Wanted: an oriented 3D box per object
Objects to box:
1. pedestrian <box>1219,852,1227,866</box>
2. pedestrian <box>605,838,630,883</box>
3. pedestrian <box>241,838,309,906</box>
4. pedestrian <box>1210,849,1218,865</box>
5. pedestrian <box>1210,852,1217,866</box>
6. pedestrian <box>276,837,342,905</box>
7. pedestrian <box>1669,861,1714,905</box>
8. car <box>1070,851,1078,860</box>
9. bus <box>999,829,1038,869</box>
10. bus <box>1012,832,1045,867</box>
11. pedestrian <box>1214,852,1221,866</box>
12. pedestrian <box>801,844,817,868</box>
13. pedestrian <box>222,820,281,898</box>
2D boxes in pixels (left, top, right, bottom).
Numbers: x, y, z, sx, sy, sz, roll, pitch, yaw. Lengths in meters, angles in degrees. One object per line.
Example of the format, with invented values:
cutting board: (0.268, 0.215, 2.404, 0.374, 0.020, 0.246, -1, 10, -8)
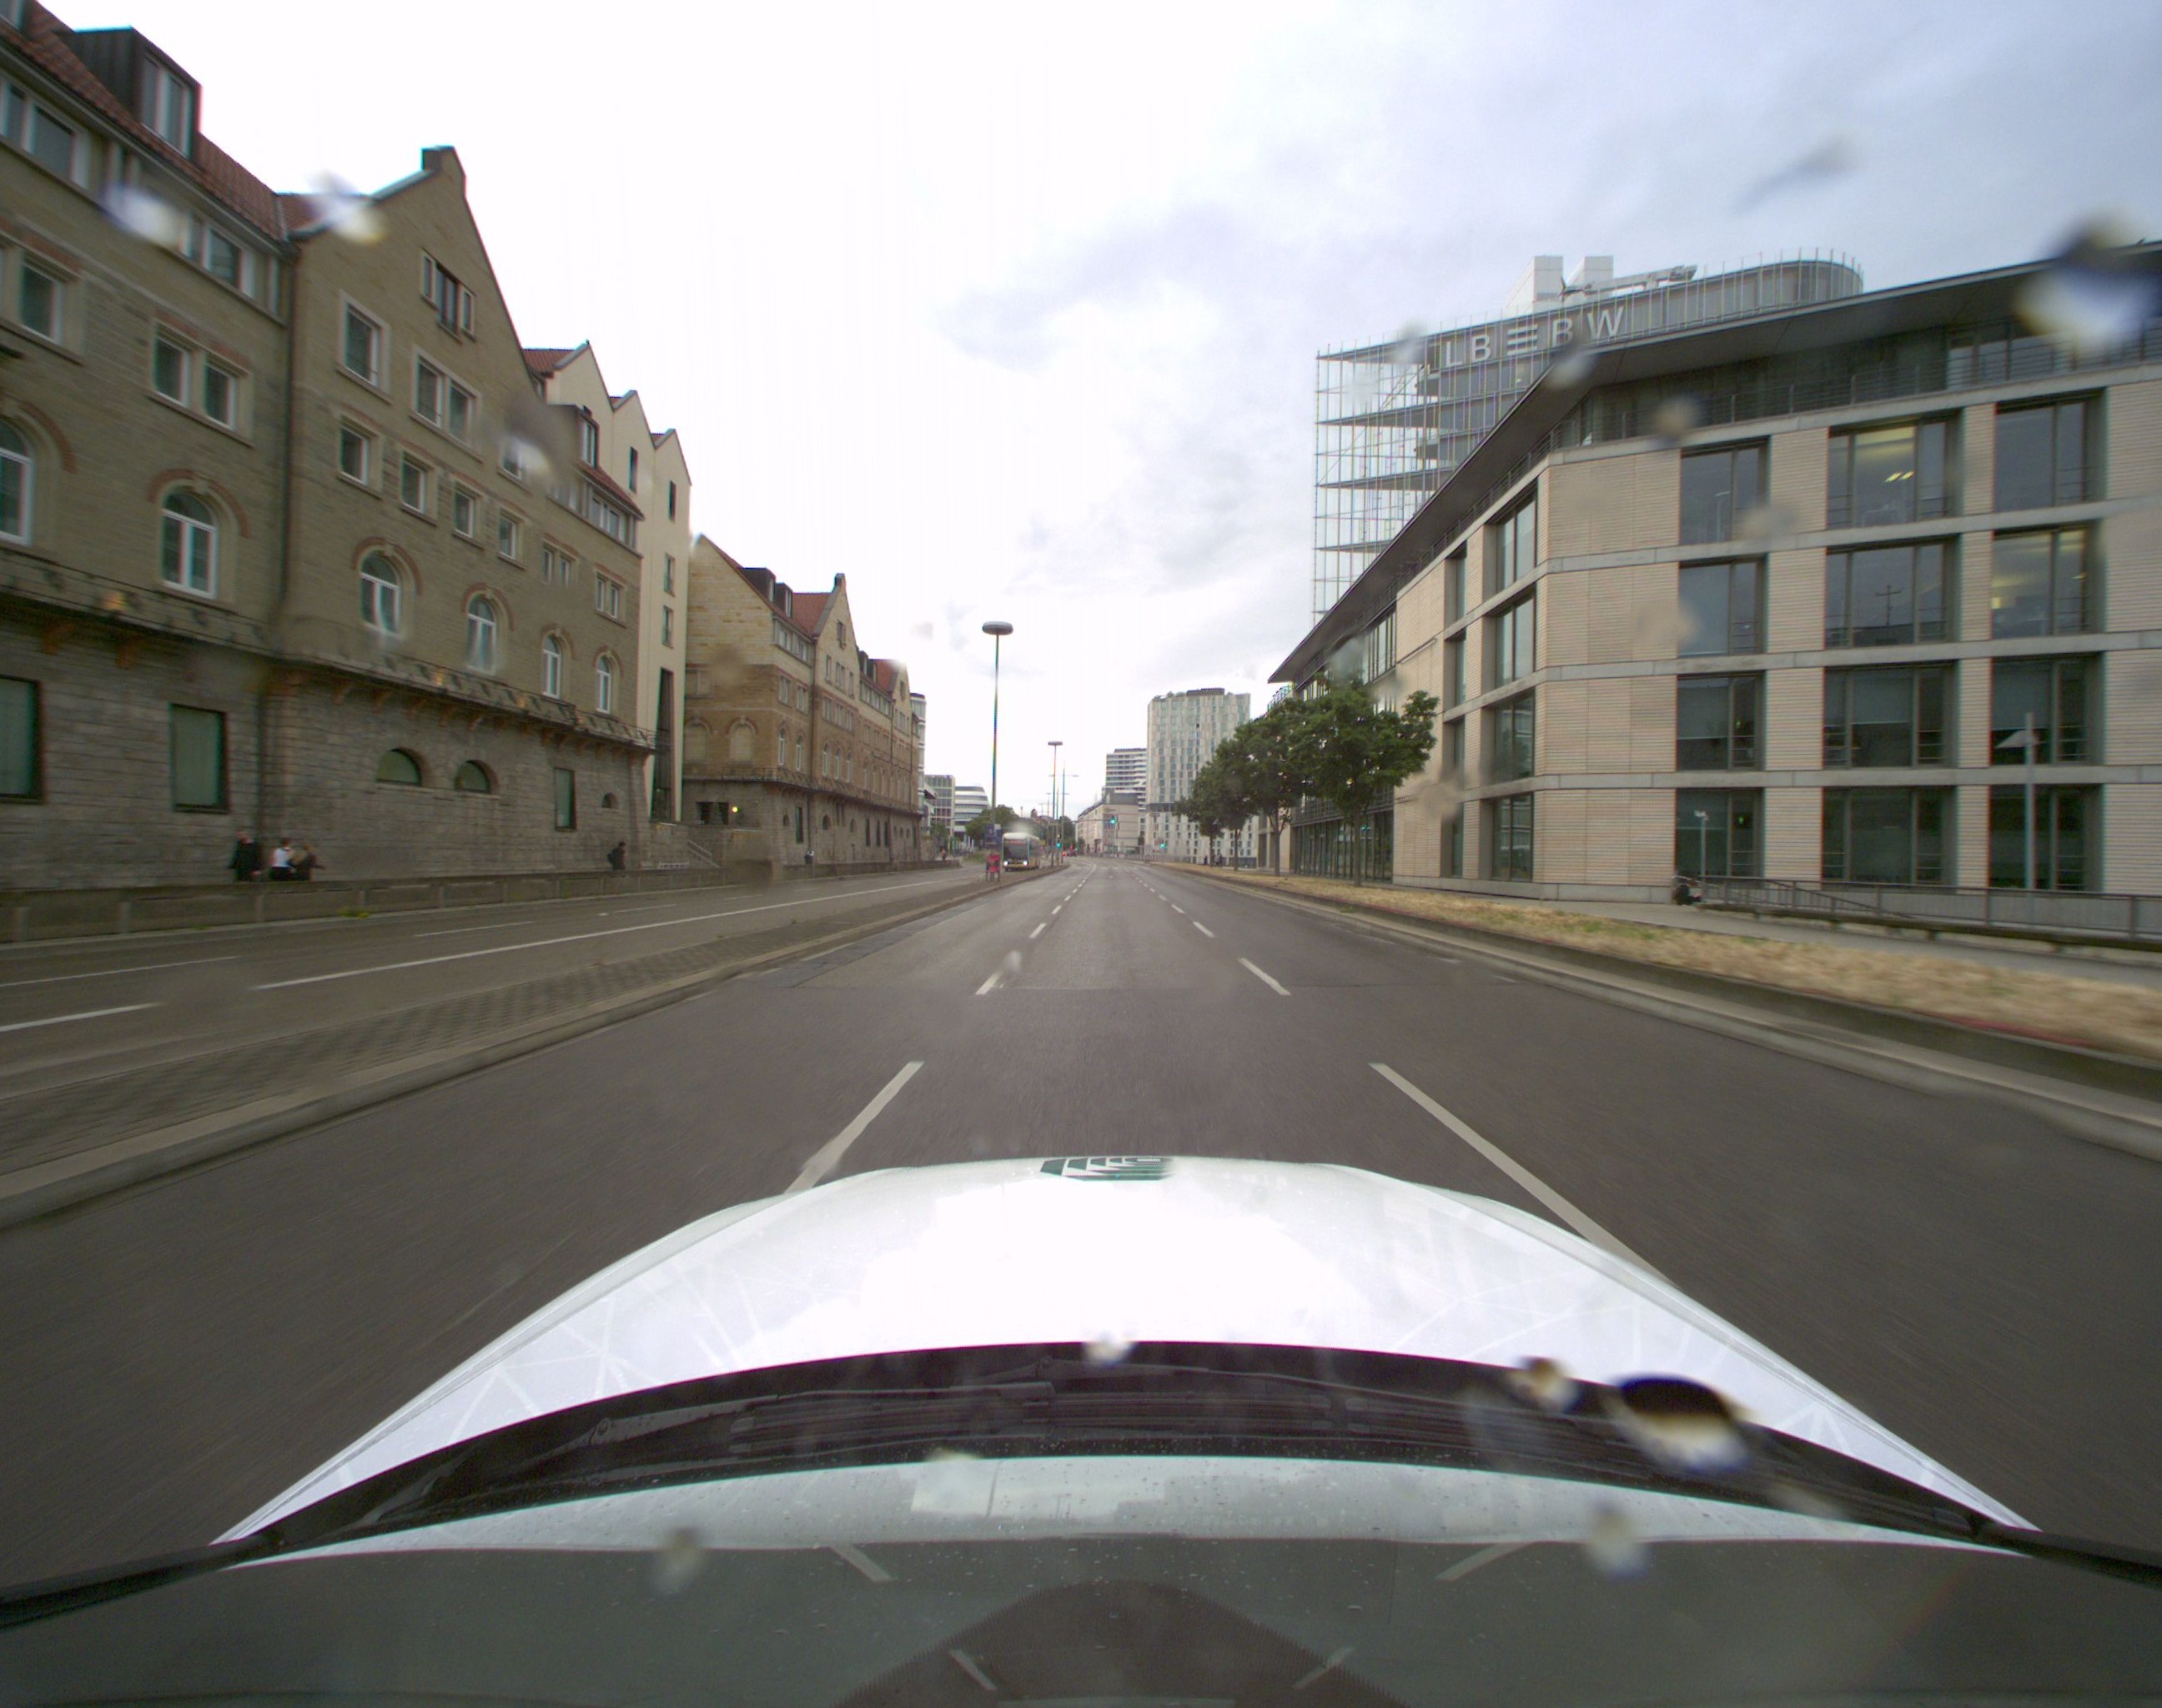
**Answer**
pedestrian: (16.074, 0.587, 92.105, 0.662, 1.578, 0.673, 1, 2, 39)
pedestrian: (-18.386, 0.244, 32.321, 0.638, 1.745, 0.621, 0, 1, -1)
pedestrian: (-18.057, 0.389, 18.257, 0.751, 1.477, 0.714, 0, 1, 1)
pedestrian: (15.282, 0.319, 93.608, 0.787, 1.841, 0.545, -1, 2, -42)
pedestrian: (15.250, 0.583, 93.566, 0.544, 1.578, 0.675, 1, 2, 36)
pedestrian: (-17.271, 0.367, 18.238, 0.751, 1.477, 0.714, 0, 1, 1)
pedestrian: (19.139, 0.880, 25.546, 0.868, 1.340, 0.974, 0, 0, 19)
car: (-2.303, 0.443, 261.682, 1.987, 2.342, 4.001, -11, 0, 1)
bus: (-5.790, -0.453, 77.075, 2.688, 3.559, 10.096, 0, 0, 1)
bus: (-5.569, -0.485, 87.727, 2.688, 3.559, 10.096, 0, 0, 1)
pedestrian: (15.299, 0.571, 91.567, 0.544, 1.578, 0.675, 1, 2, 36)
pedestrian: (-17.306, 0.131, 51.866, 0.751, 1.477, 0.714, 0, 1, 1)
pedestrian: (-18.779, 0.107, 18.449, 0.638, 1.745, 0.621, 0, 1, -1)
